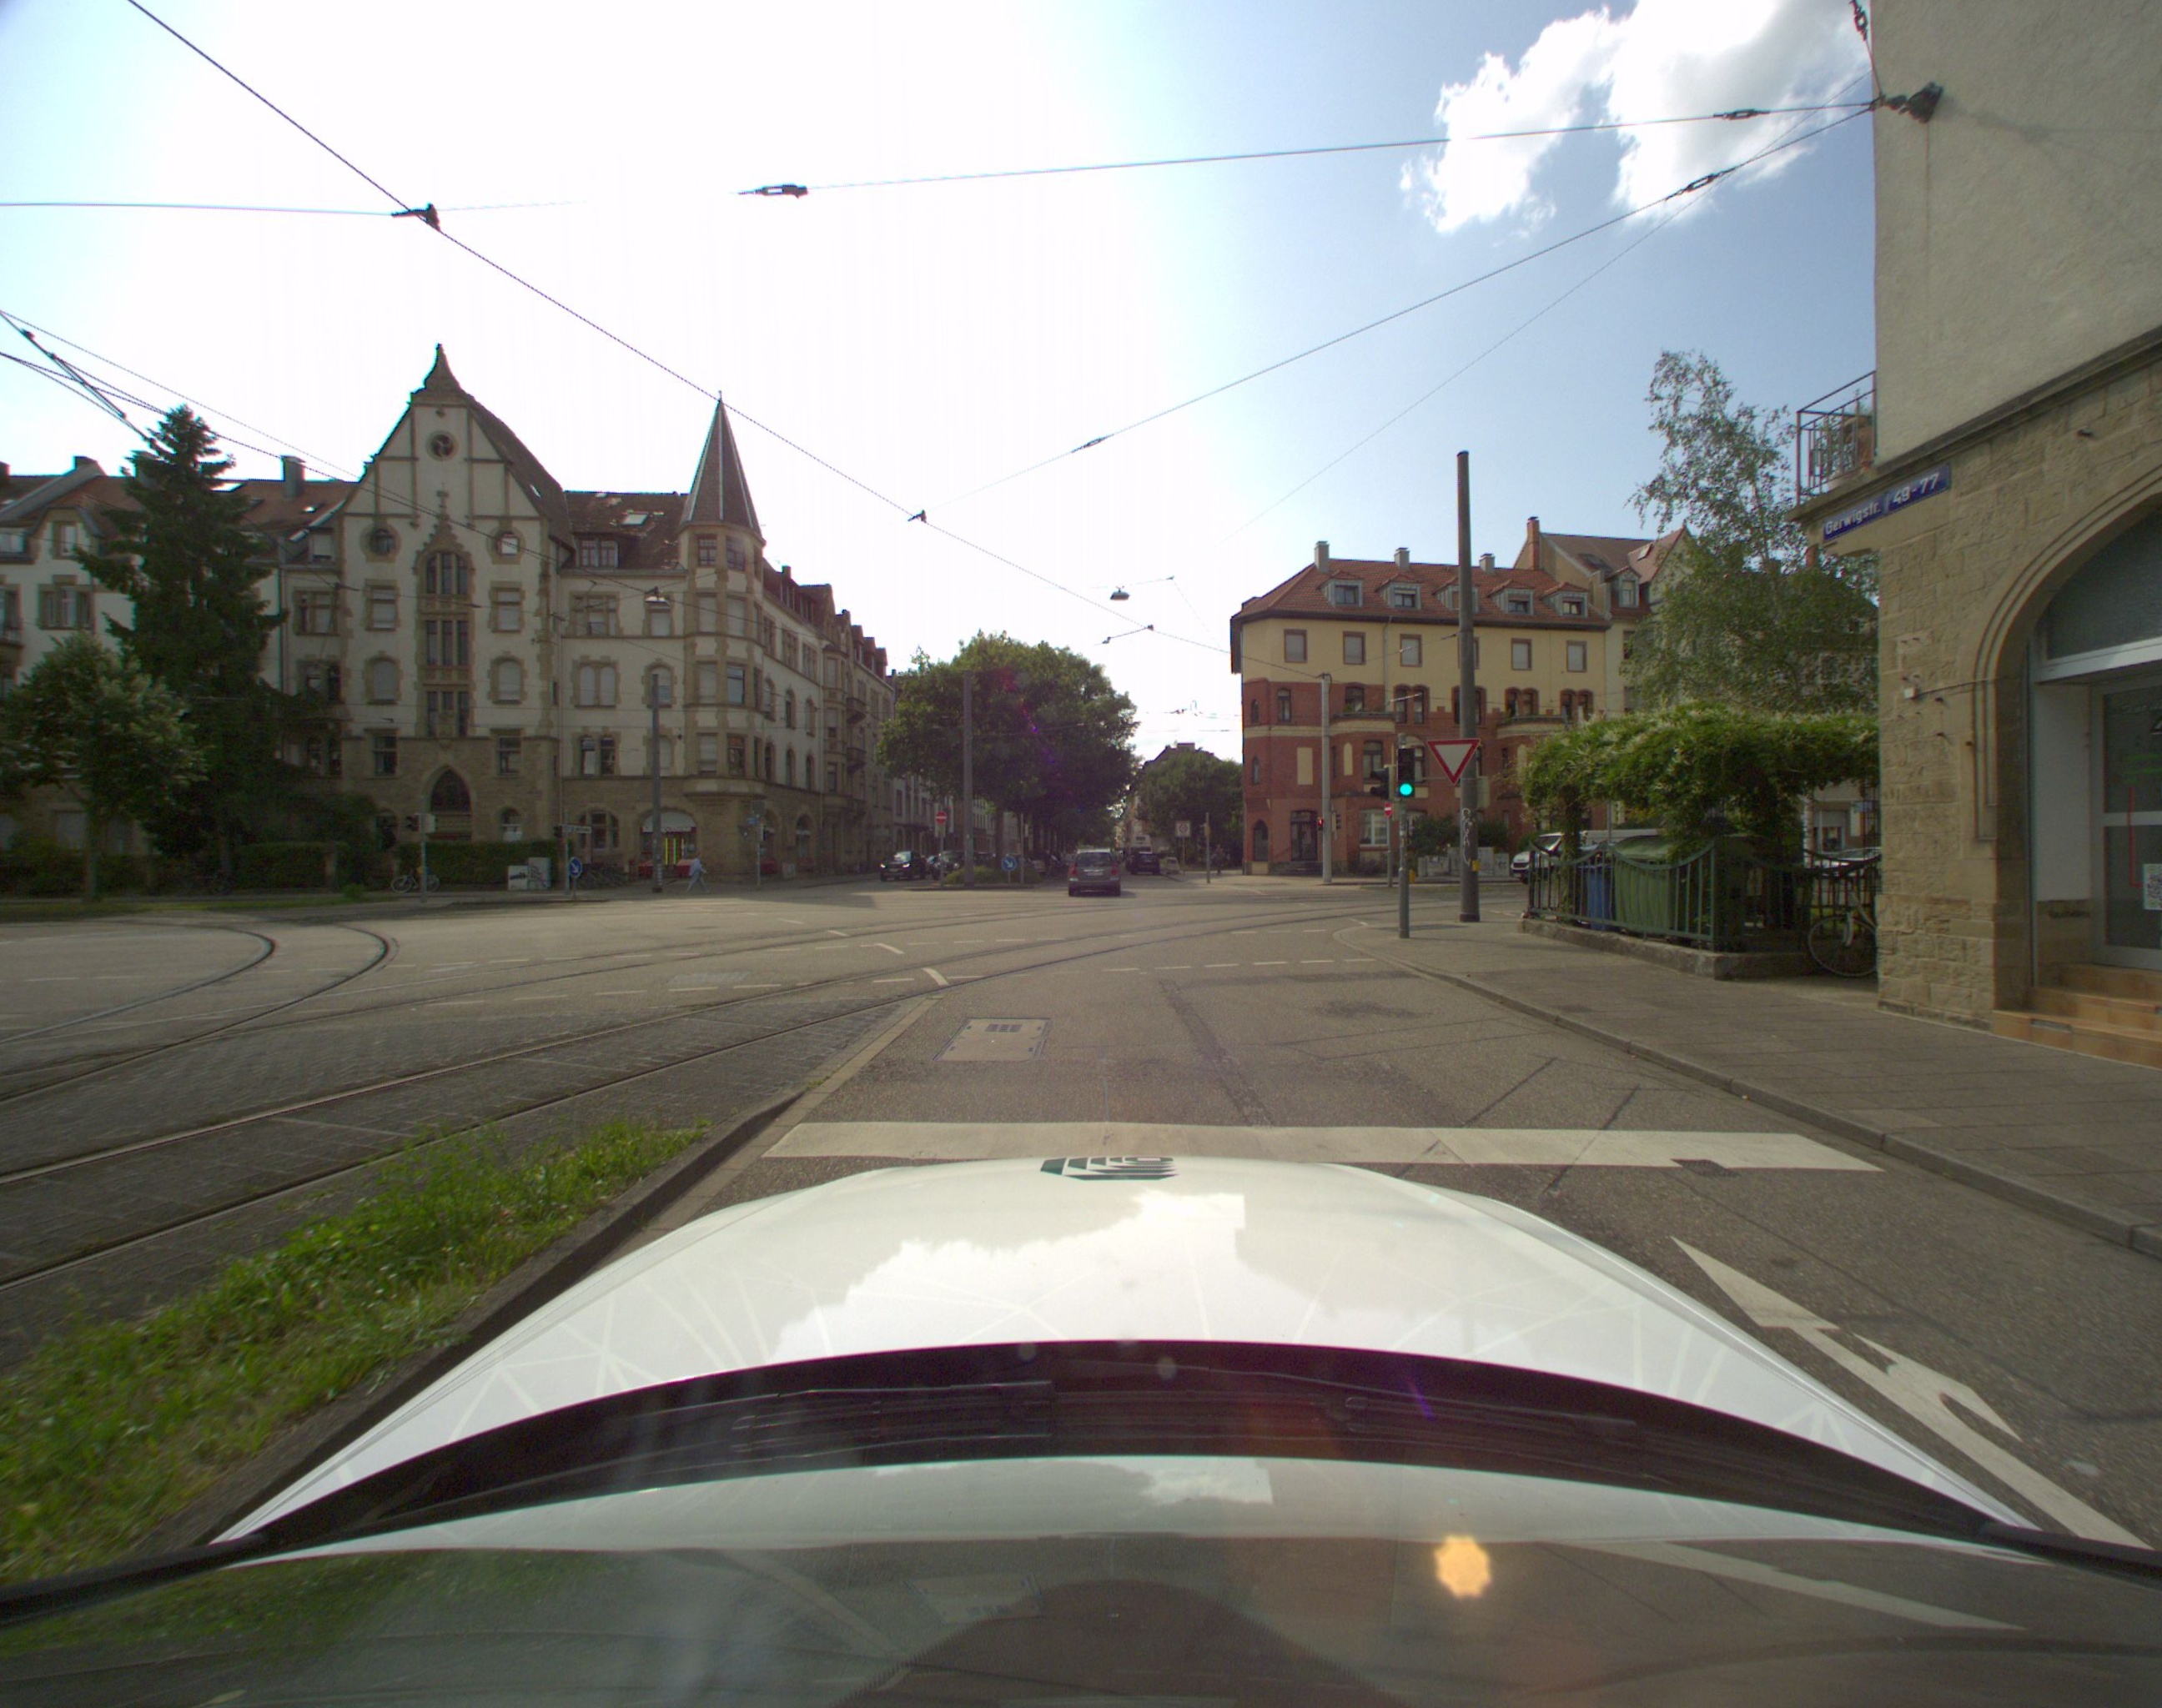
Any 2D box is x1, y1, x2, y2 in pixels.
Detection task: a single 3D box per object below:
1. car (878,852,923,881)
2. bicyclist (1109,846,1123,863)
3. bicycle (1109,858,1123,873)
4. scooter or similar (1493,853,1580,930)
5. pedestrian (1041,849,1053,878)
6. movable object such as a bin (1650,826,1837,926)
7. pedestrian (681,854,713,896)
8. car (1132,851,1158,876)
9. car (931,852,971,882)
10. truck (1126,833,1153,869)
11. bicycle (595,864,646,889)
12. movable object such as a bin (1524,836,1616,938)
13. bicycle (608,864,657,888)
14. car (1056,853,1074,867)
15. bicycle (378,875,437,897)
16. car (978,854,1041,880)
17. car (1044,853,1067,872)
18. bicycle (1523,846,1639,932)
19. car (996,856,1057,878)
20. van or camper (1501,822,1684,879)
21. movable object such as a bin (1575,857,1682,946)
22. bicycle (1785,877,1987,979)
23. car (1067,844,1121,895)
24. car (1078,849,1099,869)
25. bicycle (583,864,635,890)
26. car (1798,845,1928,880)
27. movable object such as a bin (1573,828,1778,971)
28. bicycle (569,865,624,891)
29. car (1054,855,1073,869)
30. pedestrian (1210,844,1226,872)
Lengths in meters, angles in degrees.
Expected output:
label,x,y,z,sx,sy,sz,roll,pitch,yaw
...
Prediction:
label,x,y,z,sx,sy,sz,roll,pitch,yaw
car,-10.833,0.747,49.141,1.989,1.618,3.995,-1,0,-3
bicyclist,2.285,0.049,53.174,0.832,1.082,1.402,-1,0,6
bicycle,2.291,0.750,53.027,0.745,0.958,2.302,-1,0,6
scooter or similar,7.538,0.606,13.503,1.192,1.217,0.462,-1,0,-5
pedestrian,-2.048,0.548,48.896,0.648,1.725,0.495,-1,0,5
movable object such as a bin,10.191,0.320,12.582,2.090,1.413,1.051,-1,0,-5
pedestrian,-16.169,0.859,34.285,1.029,1.722,0.767,-1,0,-42
car,4.496,0.627,56.920,1.743,1.633,3.505,-1,0,6
car,-8.037,0.783,50.693,1.989,1.728,3.995,-1,0,-3
truck,5.048,-0.271,69.816,2.112,2.970,4.006,-1,0,6
bicycle,-21.812,1.053,38.617,1.915,1.081,0.776,-1,0,-9
movable object such as a bin,7.366,0.476,12.301,0.714,1.472,0.980,-1,0,-7
bicycle,-21.937,1.055,39.863,1.915,1.081,0.776,-1,0,-9
car,-1.830,0.704,94.322,1.745,1.517,3.501,-1,0,2
bicycle,-28.439,1.336,34.400,1.915,0.848,0.469,-1,0,-9
car,-4.361,0.768,49.257,1.984,1.494,3.955,-1,0,-37
car,-2.278,0.750,73.682,1.745,1.633,3.501,-1,0,2
bicycle,8.073,0.552,13.144,1.827,1.329,0.276,-1,0,-9
car,-3.496,0.821,51.854,1.984,1.339,3.955,-1,0,-37
van or camper,21.350,-0.156,34.118,6.514,2.253,2.244,-1,0,-6
movable object such as a bin,7.561,0.640,11.290,1.023,1.174,0.660,-1,0,4
bicycle,8.749,0.787,8.873,1.838,1.000,0.510,-1,0,-7
car,0.505,0.503,28.265,1.715,1.605,3.680,-1,0,3
car,0.694,0.465,74.051,1.715,1.706,3.680,-1,0,3
bicycle,-21.699,1.051,37.476,1.915,1.081,0.776,-1,0,-9
car,34.396,0.363,35.880,3.997,1.439,1.934,-1,0,-3
movable object such as a bin,7.108,0.495,9.926,1.045,1.539,2.102,-1,0,4
bicycle,-21.540,1.047,36.208,1.915,1.081,0.776,-1,0,-9
car,-1.872,0.844,87.224,1.745,1.517,3.501,-1,0,2
pedestrian,8.011,0.231,47.578,0.864,1.656,0.737,-1,0,6
